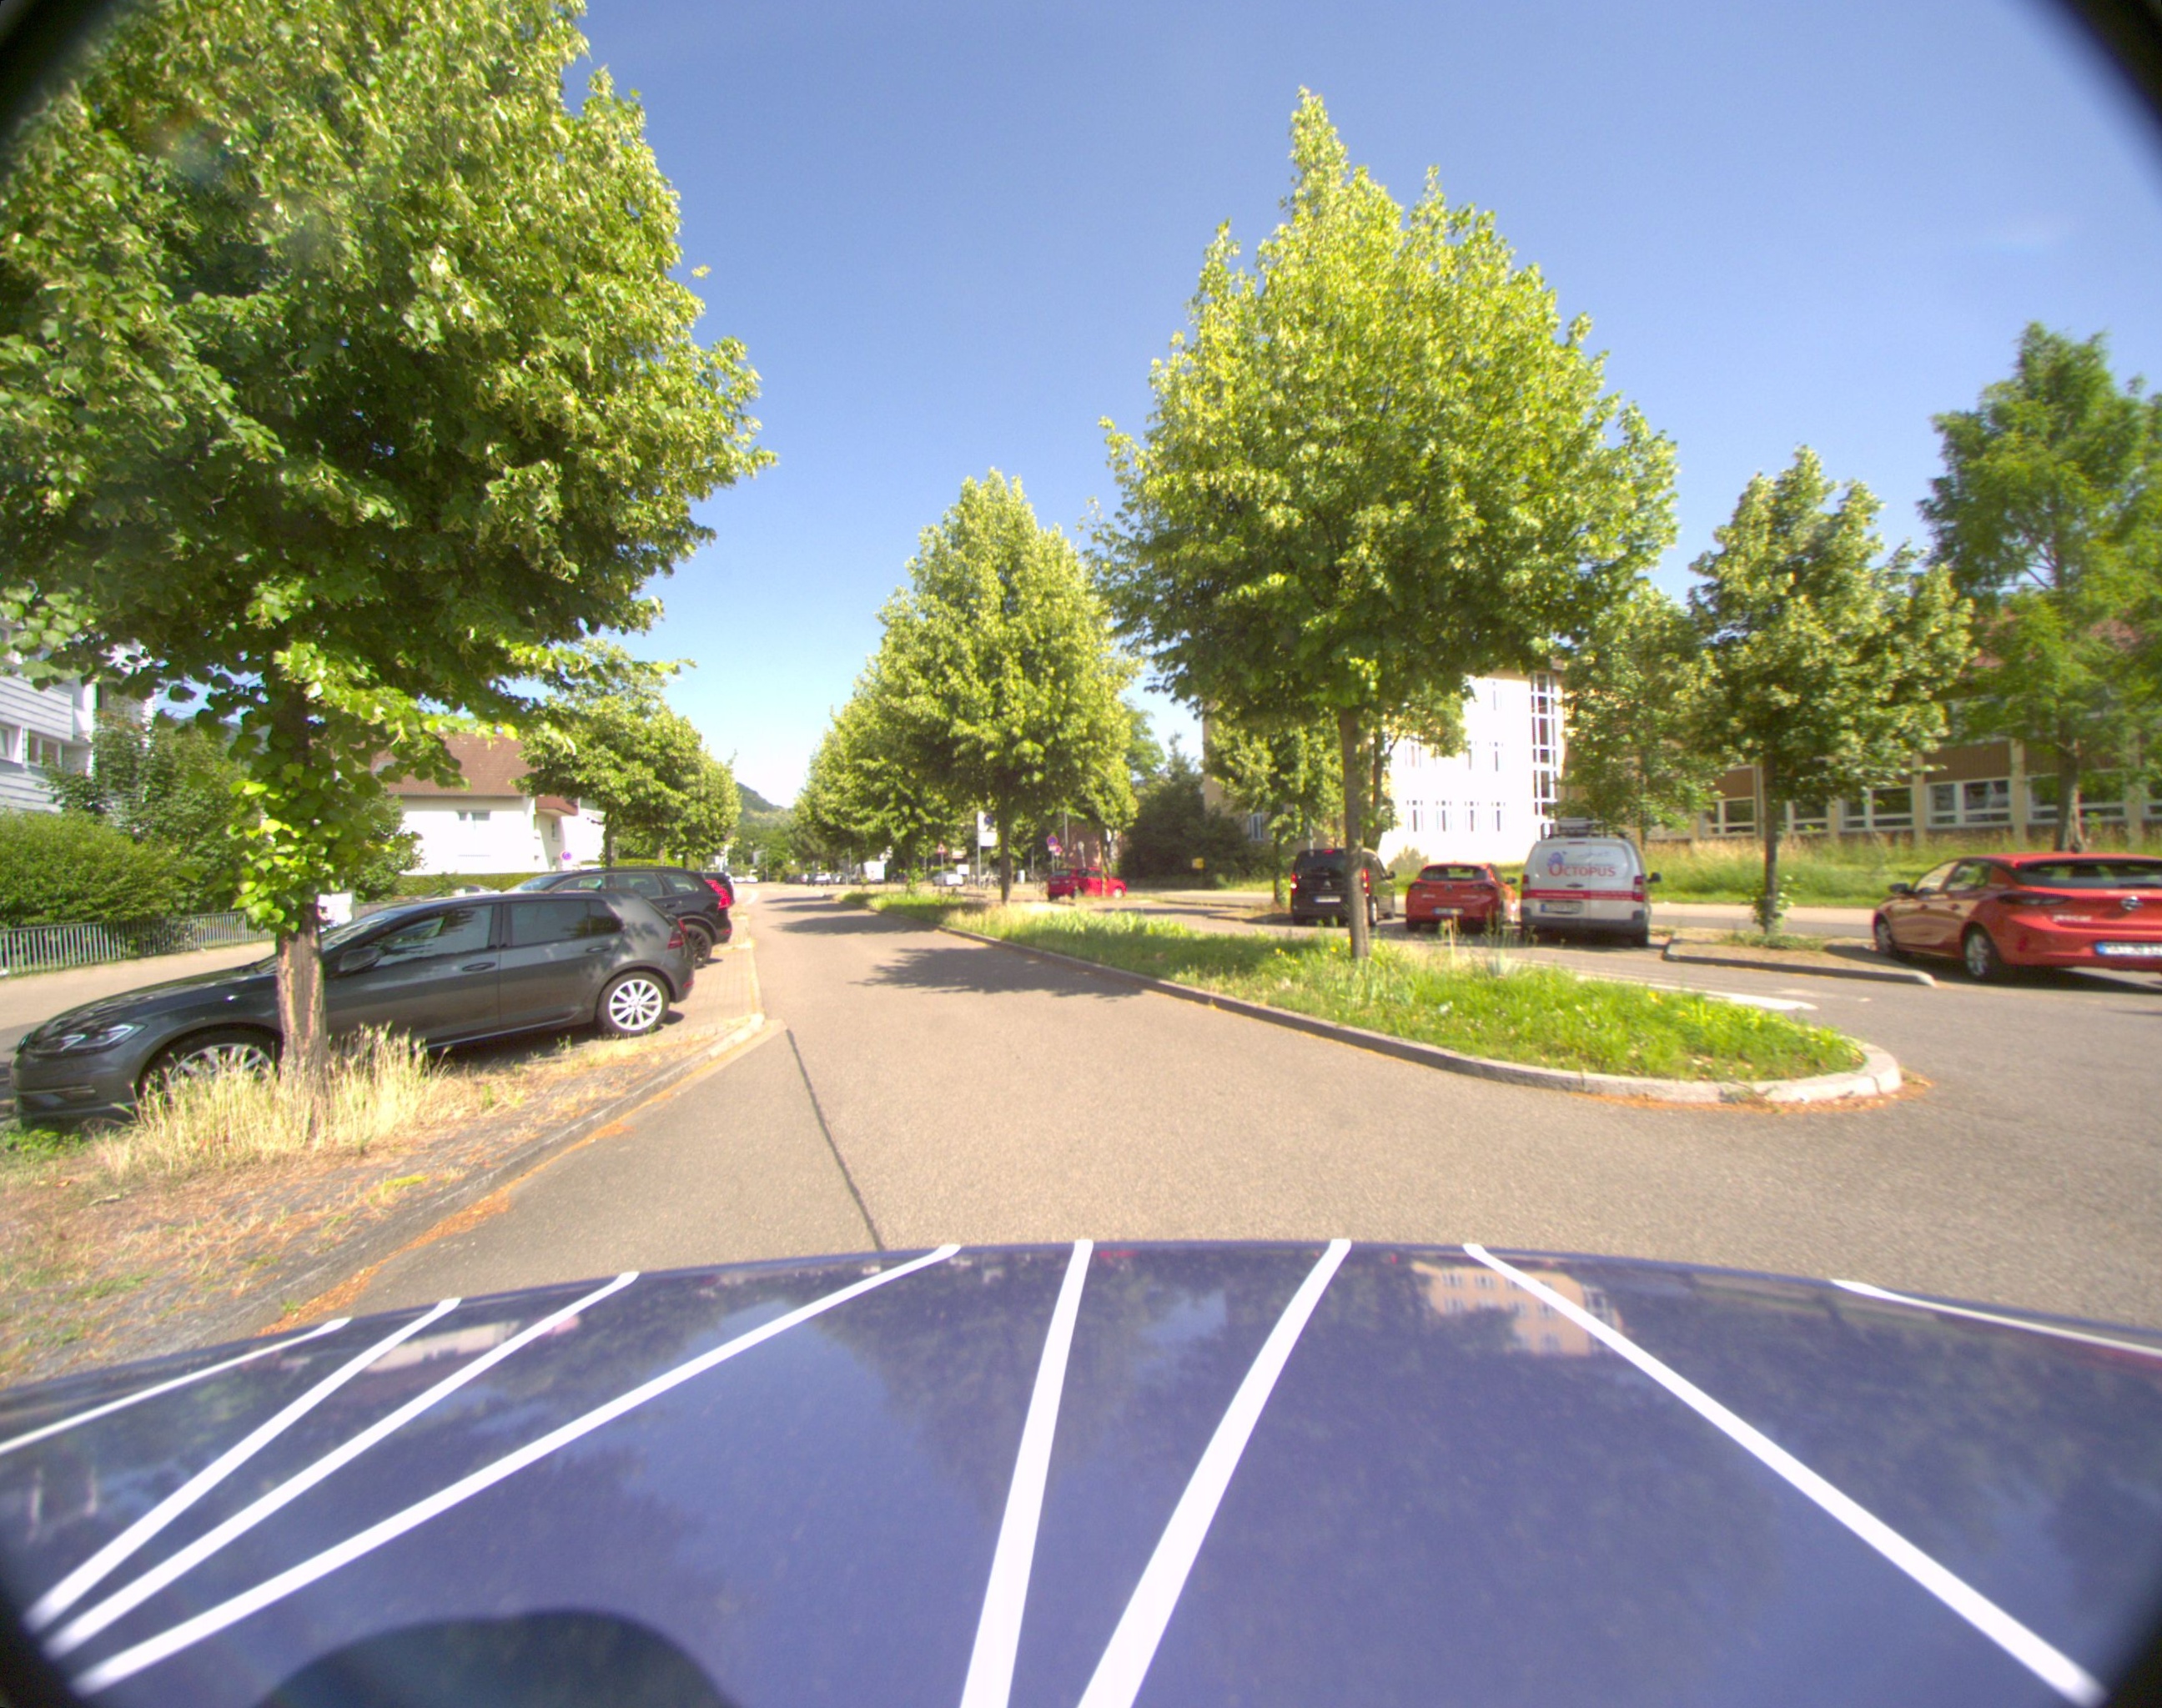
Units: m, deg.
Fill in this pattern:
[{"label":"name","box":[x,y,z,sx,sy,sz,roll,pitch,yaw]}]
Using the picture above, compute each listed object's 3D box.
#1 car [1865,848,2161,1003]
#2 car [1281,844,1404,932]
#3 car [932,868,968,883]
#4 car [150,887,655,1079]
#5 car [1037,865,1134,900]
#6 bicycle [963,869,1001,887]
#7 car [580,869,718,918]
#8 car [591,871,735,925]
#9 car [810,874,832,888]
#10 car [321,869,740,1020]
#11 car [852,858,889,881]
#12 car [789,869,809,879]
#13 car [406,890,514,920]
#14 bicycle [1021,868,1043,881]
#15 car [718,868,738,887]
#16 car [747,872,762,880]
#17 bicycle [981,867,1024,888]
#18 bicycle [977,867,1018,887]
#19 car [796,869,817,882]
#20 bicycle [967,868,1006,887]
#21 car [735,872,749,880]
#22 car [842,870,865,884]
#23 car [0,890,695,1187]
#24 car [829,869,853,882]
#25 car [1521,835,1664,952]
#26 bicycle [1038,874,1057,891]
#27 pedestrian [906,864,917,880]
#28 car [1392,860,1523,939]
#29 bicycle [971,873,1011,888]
[{"label":"car","box":[11.045,0.674,8.838,1.711,1.415,3.850,-2,0,31]},{"label":"car","box":[6.255,0.744,17.871,1.999,1.805,4.197,-2,-1,29]},{"label":"car","box":[-11.625,1.888,67.315,1.729,1.259,3.991,0,-2,-32]},{"label":"car","box":[-7.434,1.216,8.723,1.764,1.465,4.008,-2,0,37]},{"label":"car","box":[0.238,1.240,33.554,4.009,1.457,1.995,0,-2,-45]},{"label":"bicycle","box":[-6.885,1.670,52.869,2.556,1.248,0.738,0,-1,-26]},{"label":"car","box":[-16.614,1.478,29.420,2.039,1.630,4.128,-2,0,33]},{"label":"car","box":[-14.513,1.476,26.607,1.875,1.630,4.007,-1,0,28]},{"label":"car","box":[-29.433,3.055,85.903,1.750,1.538,4.064,0,-1,-28]},{"label":"car","box":[-7.879,1.137,11.412,1.748,1.650,4.756,-2,0,36]},{"label":"car","box":[-23.675,1.794,85.389,2.099,2.481,5.938,0,-2,-35]},{"label":"car","box":[-42.082,2.995,113.424,1.850,1.448,4.184,0,-2,-33]},{"label":"car","box":[-33.335,2.726,40.917,4.134,1.389,1.808,-1,-3,-23]},{"label":"bicycle","box":[-4.071,1.707,63.020,1.713,1.074,0.378,-2,-1,17]},{"label":"car","box":[-38.505,2.512,82.869,1.770,1.816,4.588,-4,1,-27]},{"label":"car","box":[-61.051,4.078,141.876,1.963,1.543,3.990,-2,0,-32]},{"label":"bicycle","box":[-5.018,1.484,48.611,2.556,1.249,0.738,-2,0,-26]},{"label":"bicycle","box":[-5.449,1.474,49.659,2.527,1.248,0.738,0,-1,-26]},{"label":"car","box":[-39.310,3.118,108.755,1.850,1.753,4.575,0,-2,-33]},{"label":"bicycle","box":[-6.466,1.594,51.974,2.556,1.231,0.738,0,-1,-26]},{"label":"car","box":[-68.179,4.438,152.699,2.003,1.608,3.991,-1,-1,-32]},{"label":"car","box":[-27.065,2.722,90.340,1.729,1.549,3.991,0,-2,-32]},{"label":"car","box":[-5.930,1.182,6.567,1.995,1.521,4.126,-2,0,38]},{"label":"car","box":[-29.847,2.677,94.459,1.729,1.549,4.662,0,-2,-32]},{"label":"car","box":[9.030,0.591,13.420,1.814,1.761,3.782,-2,0,35]},{"label":"bicycle","box":[-1.875,1.593,42.241,0.523,0.898,1.268,0,0,-29]},{"label":"pedestrian","box":[-18.691,2.002,83.829,0.978,1.769,0.724,-2,0,-28]},{"label":"car","box":[7.945,0.880,15.875,1.851,1.419,3.782,-2,-2,35]},{"label":"bicycle","box":[-6.057,1.772,50.926,2.556,0.981,0.738,0,-1,-26]}]
